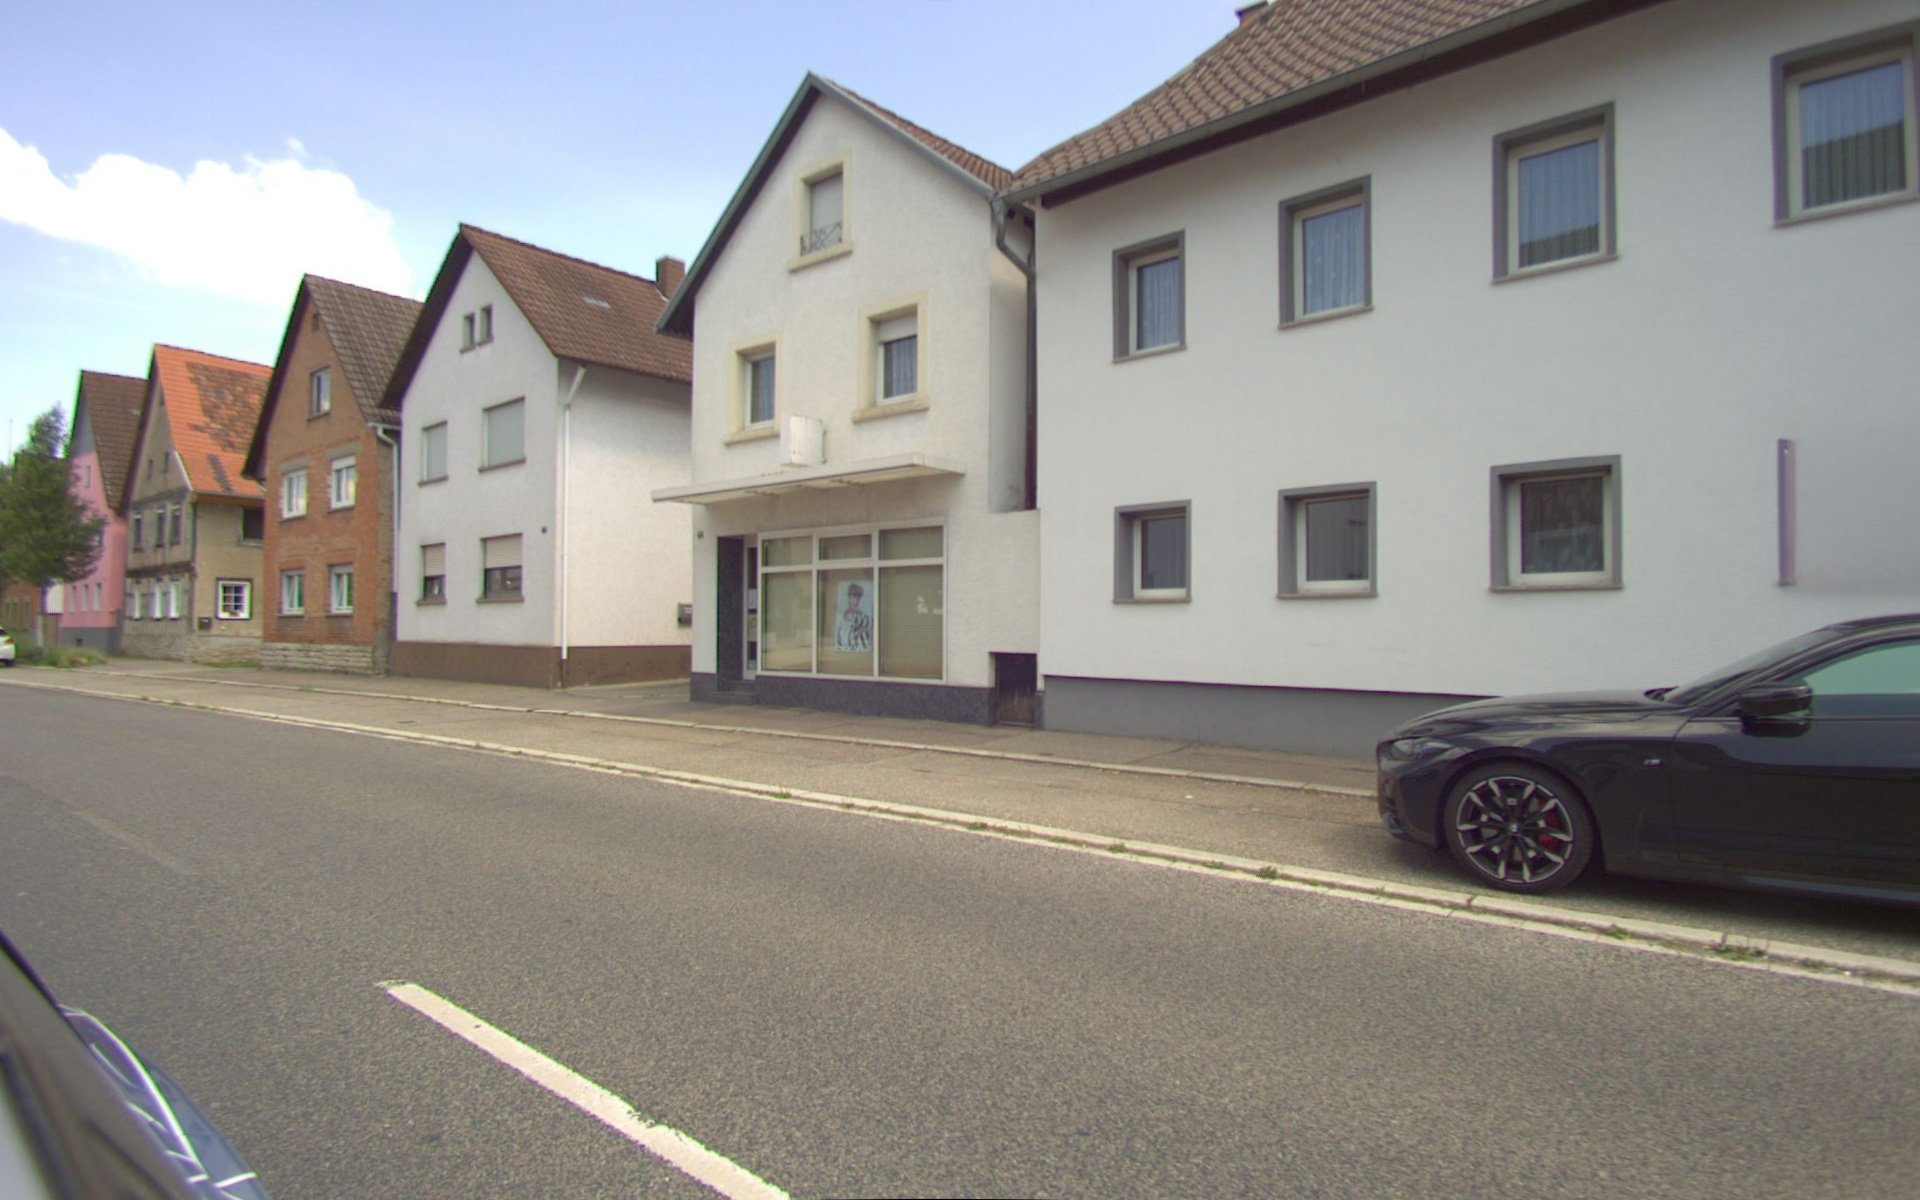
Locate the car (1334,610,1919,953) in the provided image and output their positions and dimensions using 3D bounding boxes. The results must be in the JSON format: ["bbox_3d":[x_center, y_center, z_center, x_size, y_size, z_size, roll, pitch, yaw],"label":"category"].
[{"bbox_3d":[4.427,0.729,4.665,4.751,1.359,1.748,-2,-2,40],"label":"car"}]

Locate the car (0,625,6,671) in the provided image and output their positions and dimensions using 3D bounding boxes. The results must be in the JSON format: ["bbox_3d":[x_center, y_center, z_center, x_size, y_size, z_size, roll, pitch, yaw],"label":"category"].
[{"bbox_3d":[-34.367,1.649,35.037,3.497,1.541,1.661,0,0,41],"label":"car"}]
